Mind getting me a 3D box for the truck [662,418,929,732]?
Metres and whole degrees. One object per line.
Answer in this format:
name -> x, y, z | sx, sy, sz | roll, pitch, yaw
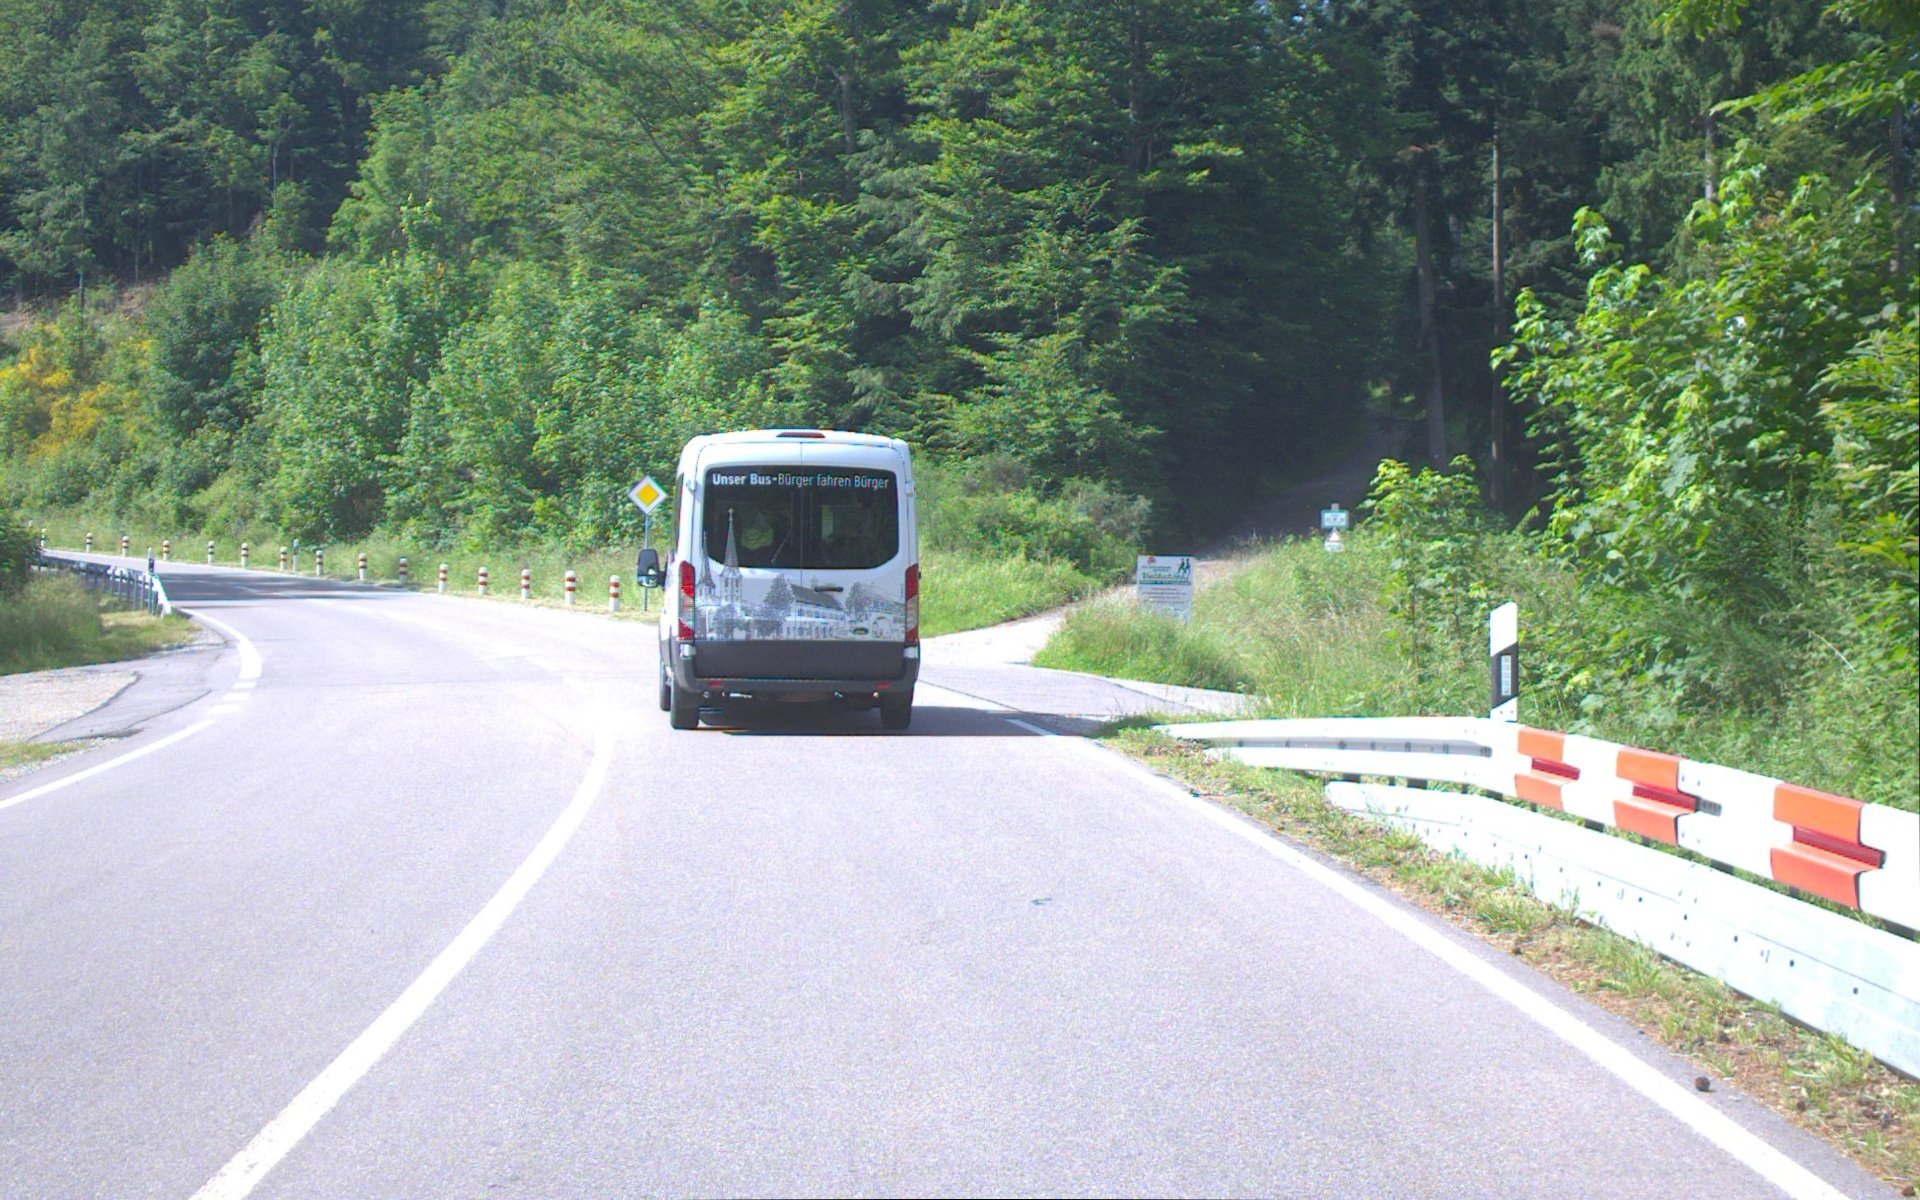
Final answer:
truck -> -1.512, -0.248, 30.012 | 2.115, 2.489, 5.360 | 0, 1, -4
